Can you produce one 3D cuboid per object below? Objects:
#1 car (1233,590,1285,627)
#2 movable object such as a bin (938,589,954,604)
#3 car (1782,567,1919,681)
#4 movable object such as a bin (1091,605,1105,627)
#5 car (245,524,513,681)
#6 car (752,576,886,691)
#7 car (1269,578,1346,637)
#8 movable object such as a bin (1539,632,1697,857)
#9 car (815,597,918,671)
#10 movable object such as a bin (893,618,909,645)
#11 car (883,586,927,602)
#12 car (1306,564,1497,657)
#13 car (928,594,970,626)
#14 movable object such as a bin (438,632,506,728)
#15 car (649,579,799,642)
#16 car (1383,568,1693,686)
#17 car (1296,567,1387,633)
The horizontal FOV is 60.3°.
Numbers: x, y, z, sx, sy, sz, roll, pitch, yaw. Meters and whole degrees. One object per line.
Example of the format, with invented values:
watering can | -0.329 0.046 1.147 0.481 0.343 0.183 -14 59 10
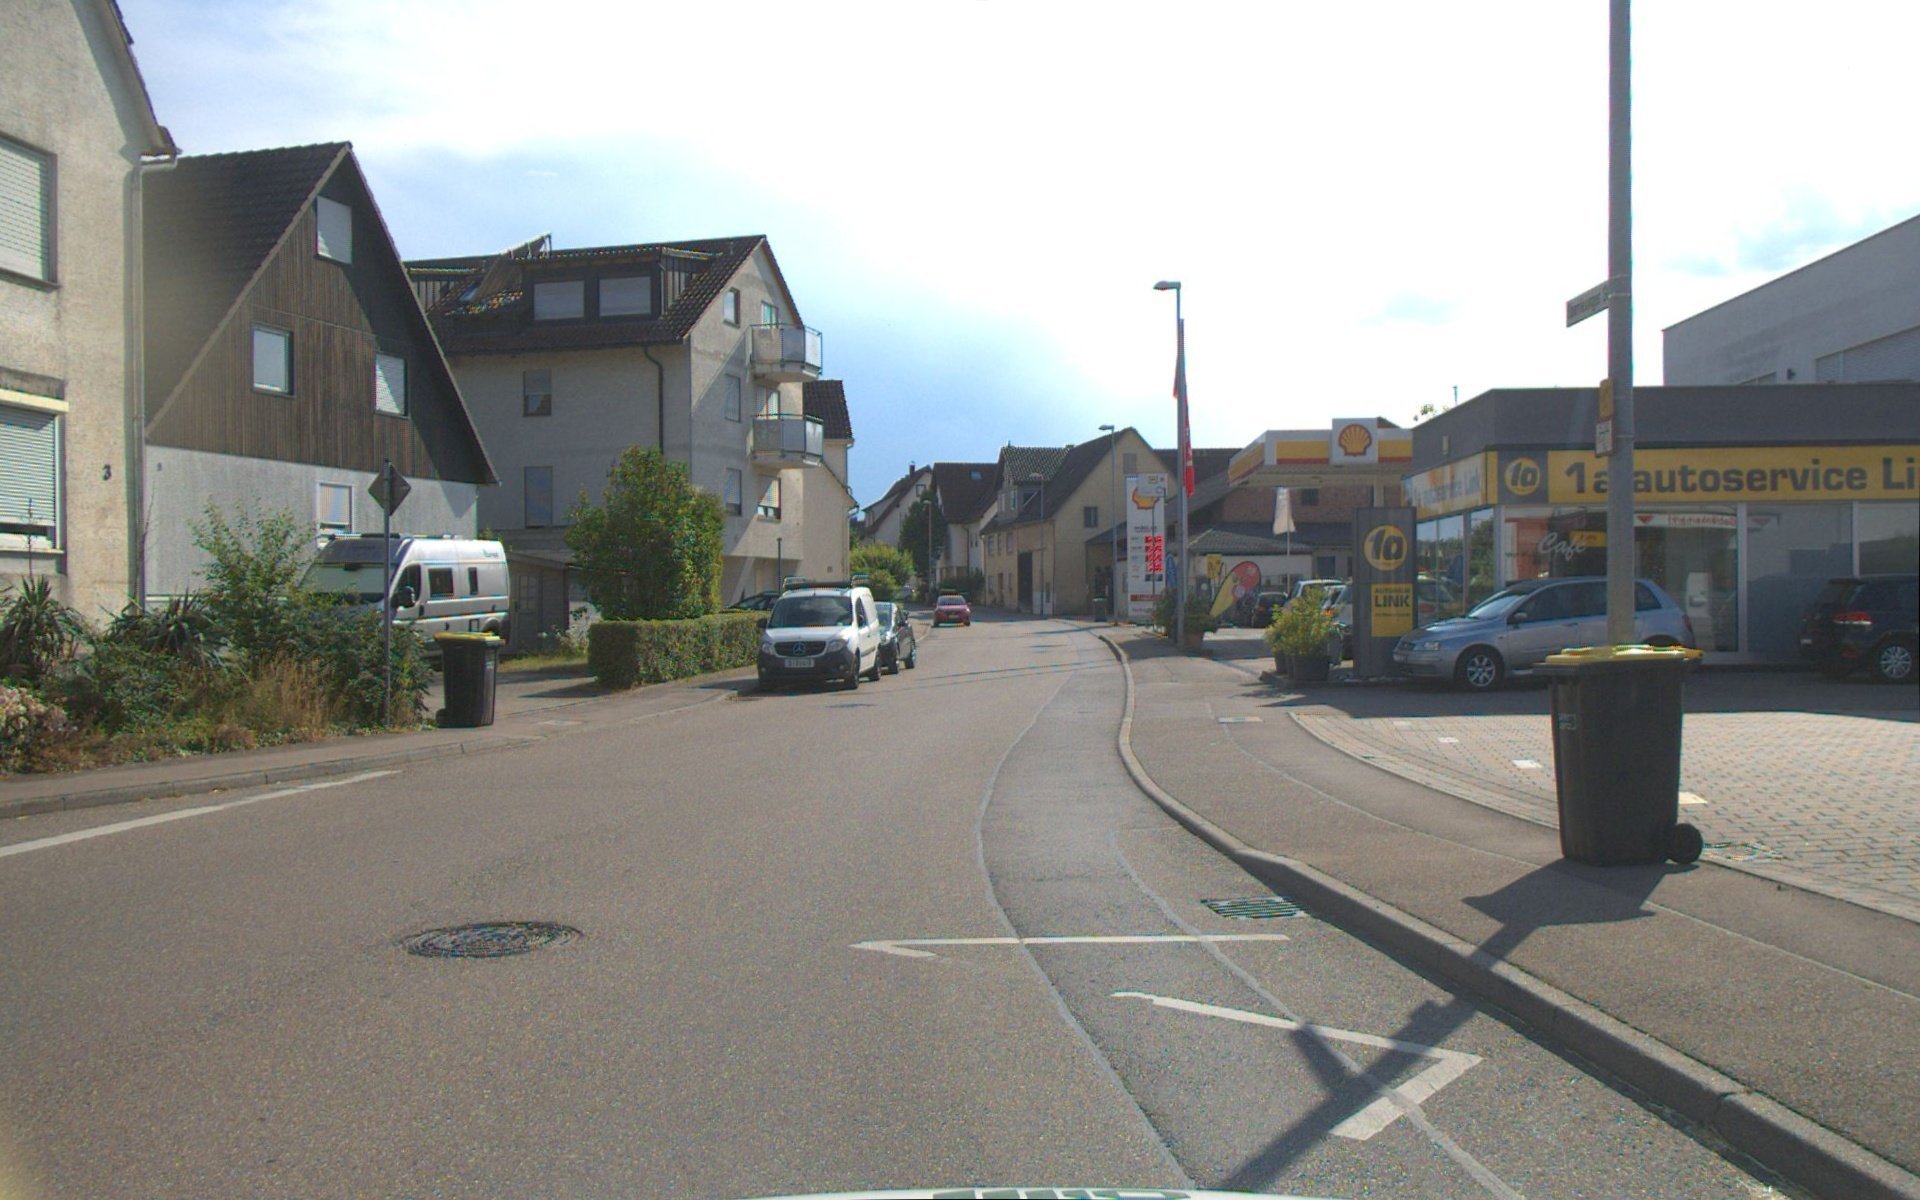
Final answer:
car | 12.323 0.331 68.413 1.545 1.452 4.382 0 0 2
movable object such as a bin | -1.112 -0.266 129.257 1.139 1.189 0.654 -1 0 -8
car | 13.864 0.292 23.196 3.824 1.493 1.717 -1 1 0
movable object such as a bin | 6.665 0.770 79.905 0.639 1.092 0.513 -1 0 1
car | -10.677 0.029 31.053 2.112 2.641 6.099 0 0 9
car | -2.496 0.572 30.221 1.680 1.905 4.194 -2 0 5
car | 10.105 0.200 48.345 1.637 1.605 4.001 -1 0 4
movable object such as a bin | 3.379 0.725 8.529 0.555 1.094 0.573 -2 0 0
car | -1.959 0.702 35.650 1.637 1.477 3.837 -1 0 5
movable object such as a bin | -2.307 1.221 64.872 0.520 1.040 0.457 -2 0 3
car | -5.027 -0.552 150.153 3.909 1.376 1.709 -1 0 -5
car | 9.031 0.199 33.714 4.038 1.704 1.654 -2 0 -39
car | -0.557 0.496 80.278 1.676 1.460 3.775 -2 0 -6
movable object such as a bin | -5.813 0.941 19.712 0.598 1.120 0.576 0 -1 5
car | -6.891 0.289 48.360 3.903 1.565 1.764 4 1 15
car | 8.246 0.378 23.766 3.907 1.558 1.527 -1 0 -2
car | 9.807 -0.011 42.716 1.637 1.605 4.001 -1 0 4
